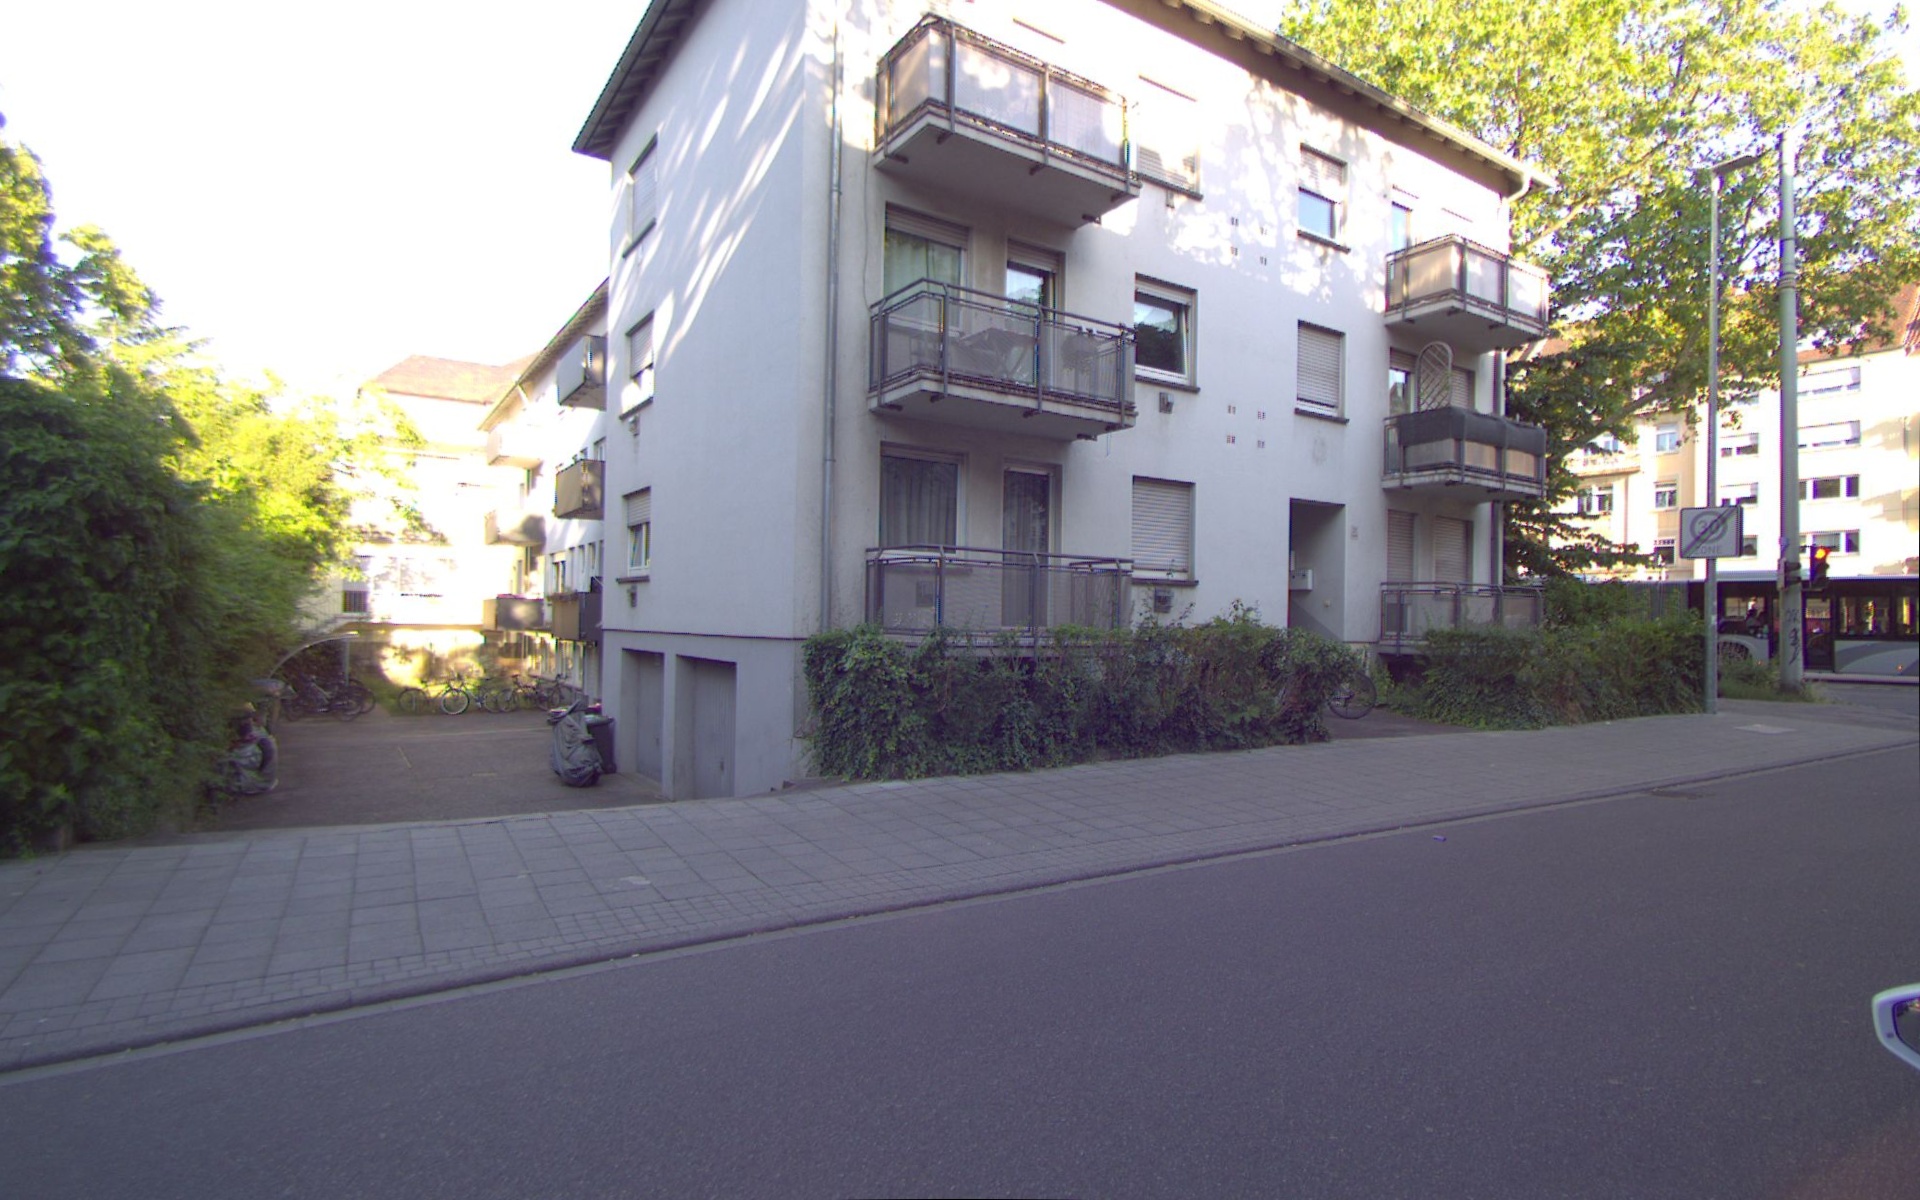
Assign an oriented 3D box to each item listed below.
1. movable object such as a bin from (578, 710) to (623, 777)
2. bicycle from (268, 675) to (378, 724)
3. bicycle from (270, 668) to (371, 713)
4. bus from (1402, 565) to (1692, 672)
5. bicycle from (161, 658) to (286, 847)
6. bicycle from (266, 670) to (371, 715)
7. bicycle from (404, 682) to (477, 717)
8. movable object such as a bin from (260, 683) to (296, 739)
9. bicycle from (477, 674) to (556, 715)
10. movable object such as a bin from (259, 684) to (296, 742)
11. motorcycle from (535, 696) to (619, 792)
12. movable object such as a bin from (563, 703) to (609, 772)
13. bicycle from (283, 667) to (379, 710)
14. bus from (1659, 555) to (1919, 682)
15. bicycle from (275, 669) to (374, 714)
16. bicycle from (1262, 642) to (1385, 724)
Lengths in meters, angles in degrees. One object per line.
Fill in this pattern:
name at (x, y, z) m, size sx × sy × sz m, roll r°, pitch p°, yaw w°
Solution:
movable object such as a bin at (-6.048, 2.397, 16.900) m, size 0.606 × 1.051 × 0.534 m, roll 1°, pitch -3°, yaw -34°
bicycle at (-16.005, 2.495, 25.309) m, size 2.268 × 1.148 × 0.689 m, roll 2°, pitch -4°, yaw -30°
bicycle at (-17.702, 2.496, 27.869) m, size 2.311 × 1.192 × 0.689 m, roll 2°, pitch -4°, yaw -30°
bus at (19.749, 0.637, 34.380) m, size 2.885 × 3.243 × 8.116 m, roll 1°, pitch -1°, yaw -37°
bicycle at (-9.241, 1.747, 12.781) m, size 0.961 × 1.917 × 4.156 m, roll 1°, pitch -2°, yaw -32°
bicycle at (-17.274, 2.473, 27.124) m, size 2.311 × 1.148 × 0.689 m, roll 2°, pitch -4°, yaw -30°
bicycle at (-14.240, 2.726, 27.534) m, size 1.734 × 0.890 × 0.561 m, roll 2°, pitch -4°, yaw -30°
movable object such as a bin at (-14.590, 2.367, 21.511) m, size 0.606 × 1.129 × 0.795 m, roll 1°, pitch -3°, yaw -34°
bicycle at (-12.589, 2.665, 28.538) m, size 1.982 × 1.085 × 0.561 m, roll 2°, pitch -4°, yaw -30°
movable object such as a bin at (-14.147, 2.333, 20.842) m, size 0.606 × 1.129 × 0.795 m, roll 1°, pitch -3°, yaw -34°
motorcycle at (-6.050, 2.223, 15.818) m, size 0.739 × 1.313 × 1.563 m, roll 1°, pitch -2°, yaw -41°
movable object such as a bin at (-6.590, 2.399, 17.695) m, size 0.606 × 1.129 × 0.795 m, roll 1°, pitch -3°, yaw -34°
bicycle at (-18.322, 2.570, 29.318) m, size 2.311 × 1.192 × 0.689 m, roll 2°, pitch -4°, yaw -30°
bus at (25.315, 0.514, 26.990) m, size 2.885 × 3.243 × 10.376 m, roll 1°, pitch -1°, yaw -37°
bicycle at (-18.049, 2.587, 28.591) m, size 2.311 × 1.192 × 0.689 m, roll 2°, pitch -4°, yaw -30°
bicycle at (5.196, 1.167, 14.406) m, size 1.590 × 1.022 × 0.517 m, roll 3°, pitch 1°, yaw 20°
